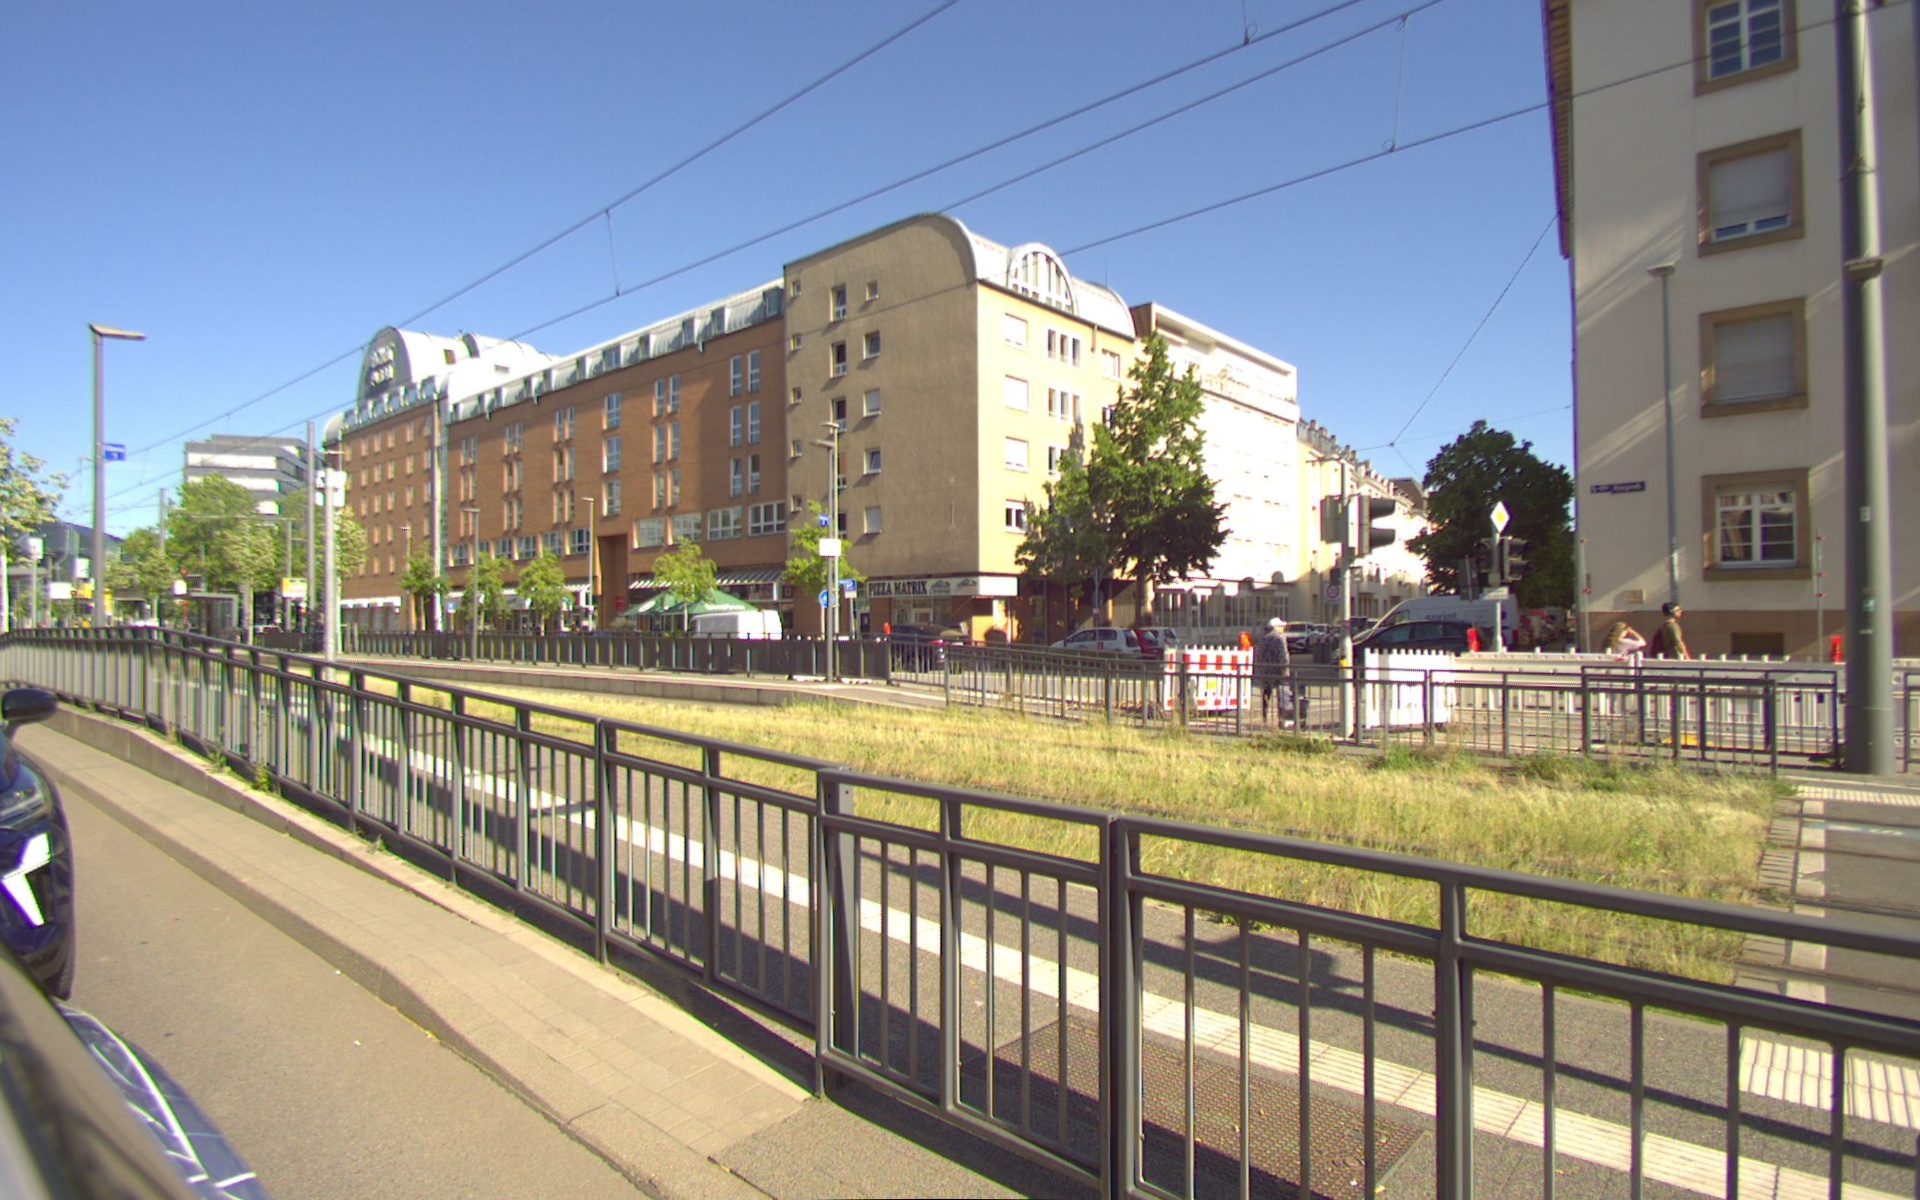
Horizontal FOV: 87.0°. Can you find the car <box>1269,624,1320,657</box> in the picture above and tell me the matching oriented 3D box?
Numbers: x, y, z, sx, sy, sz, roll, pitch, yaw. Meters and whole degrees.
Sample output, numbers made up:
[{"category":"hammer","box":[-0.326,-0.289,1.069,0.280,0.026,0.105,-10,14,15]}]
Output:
[{"category":"car","box":[17.767,2.116,53.696,1.947,1.674,3.962,-1,-2,28]}]

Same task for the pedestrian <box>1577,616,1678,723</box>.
[{"category":"pedestrian","box":[10.041,1.023,15.253,0.855,1.548,0.910,-1,-1,-4]}]

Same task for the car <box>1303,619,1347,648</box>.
[{"category":"car","box":[22.167,2.013,61.376,1.947,1.674,3.962,-1,-2,28]}]

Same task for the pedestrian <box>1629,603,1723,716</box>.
[{"category":"pedestrian","box":[11.895,0.962,16.839,0.853,1.794,0.912,-1,-1,-18]}]

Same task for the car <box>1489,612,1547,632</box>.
[{"category":"car","box":[43.891,1.741,79.674,3.853,1.472,1.740,-1,-2,24]}]

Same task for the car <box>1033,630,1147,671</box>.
[{"category":"car","box":[4.938,1.903,38.576,3.980,1.462,1.768,-1,-2,28]}]

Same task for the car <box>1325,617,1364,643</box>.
[{"category":"car","box":[24.993,1.949,65.726,1.947,1.674,3.962,-1,-2,28]}]

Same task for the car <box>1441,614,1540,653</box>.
[{"category":"car","box":[25.275,1.578,48.283,3.990,1.789,1.722,-1,-2,35]}]

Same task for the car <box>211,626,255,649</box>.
[{"category":"car","box":[-58.244,2.942,81.044,3.998,1.696,1.973,-1,0,41]}]

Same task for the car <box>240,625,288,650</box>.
[{"category":"car","box":[-51.113,2.722,74.264,3.998,1.696,1.973,-1,0,41]}]

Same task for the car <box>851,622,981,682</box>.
[{"category":"car","box":[-1.435,1.608,32.020,3.997,1.773,1.796,-2,-2,40]}]

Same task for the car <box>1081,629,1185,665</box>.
[{"category":"car","box":[7.242,1.945,42.436,3.980,1.462,1.768,-1,-2,28]}]

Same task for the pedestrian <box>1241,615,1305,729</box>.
[{"category":"pedestrian","box":[4.397,0.992,14.267,0.791,1.548,0.811,-1,-1,16]}]

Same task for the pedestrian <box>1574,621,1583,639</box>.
[{"category":"pedestrian","box":[61.196,3.010,100.178,0.687,1.768,0.807,-2,-2,34]}]

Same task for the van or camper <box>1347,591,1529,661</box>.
[{"category":"van or camper","box":[17.698,0.970,37.597,5.933,2.419,1.979,-1,-2,30]}]

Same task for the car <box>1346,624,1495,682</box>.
[{"category":"car","box":[13.039,1.460,28.720,3.662,1.533,1.673,-1,-2,32]}]

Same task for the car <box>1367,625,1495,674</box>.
[{"category":"car","box":[15.582,1.604,33.500,3.654,1.533,1.673,-1,-2,32]}]

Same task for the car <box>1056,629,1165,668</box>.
[{"category":"car","box":[6.019,1.926,40.553,3.980,1.462,1.768,-1,-2,28]}]

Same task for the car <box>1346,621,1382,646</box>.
[{"category":"car","box":[28.063,2.339,70.264,1.947,1.674,3.962,-1,-2,28]}]

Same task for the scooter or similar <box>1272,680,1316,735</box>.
[{"category":"scooter or similar","box":[4.444,1.422,13.481,0.511,0.656,0.705,-1,-1,16]}]

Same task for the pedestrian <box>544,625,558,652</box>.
[{"category":"pedestrian","box":[-28.166,2.664,69.721,0.644,1.854,0.614,-2,-2,39]}]

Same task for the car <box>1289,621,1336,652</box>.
[{"category":"car","box":[20.068,2.063,57.539,1.947,1.674,3.962,-1,-2,28]}]

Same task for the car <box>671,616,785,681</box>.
[{"category":"car","box":[-9.315,1.857,40.210,1.969,2.388,5.653,0,-2,-41]}]

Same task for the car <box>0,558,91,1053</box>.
[{"category":"car","box":[-5.072,0.696,4.120,3.998,1.618,1.779,-1,0,41]}]
